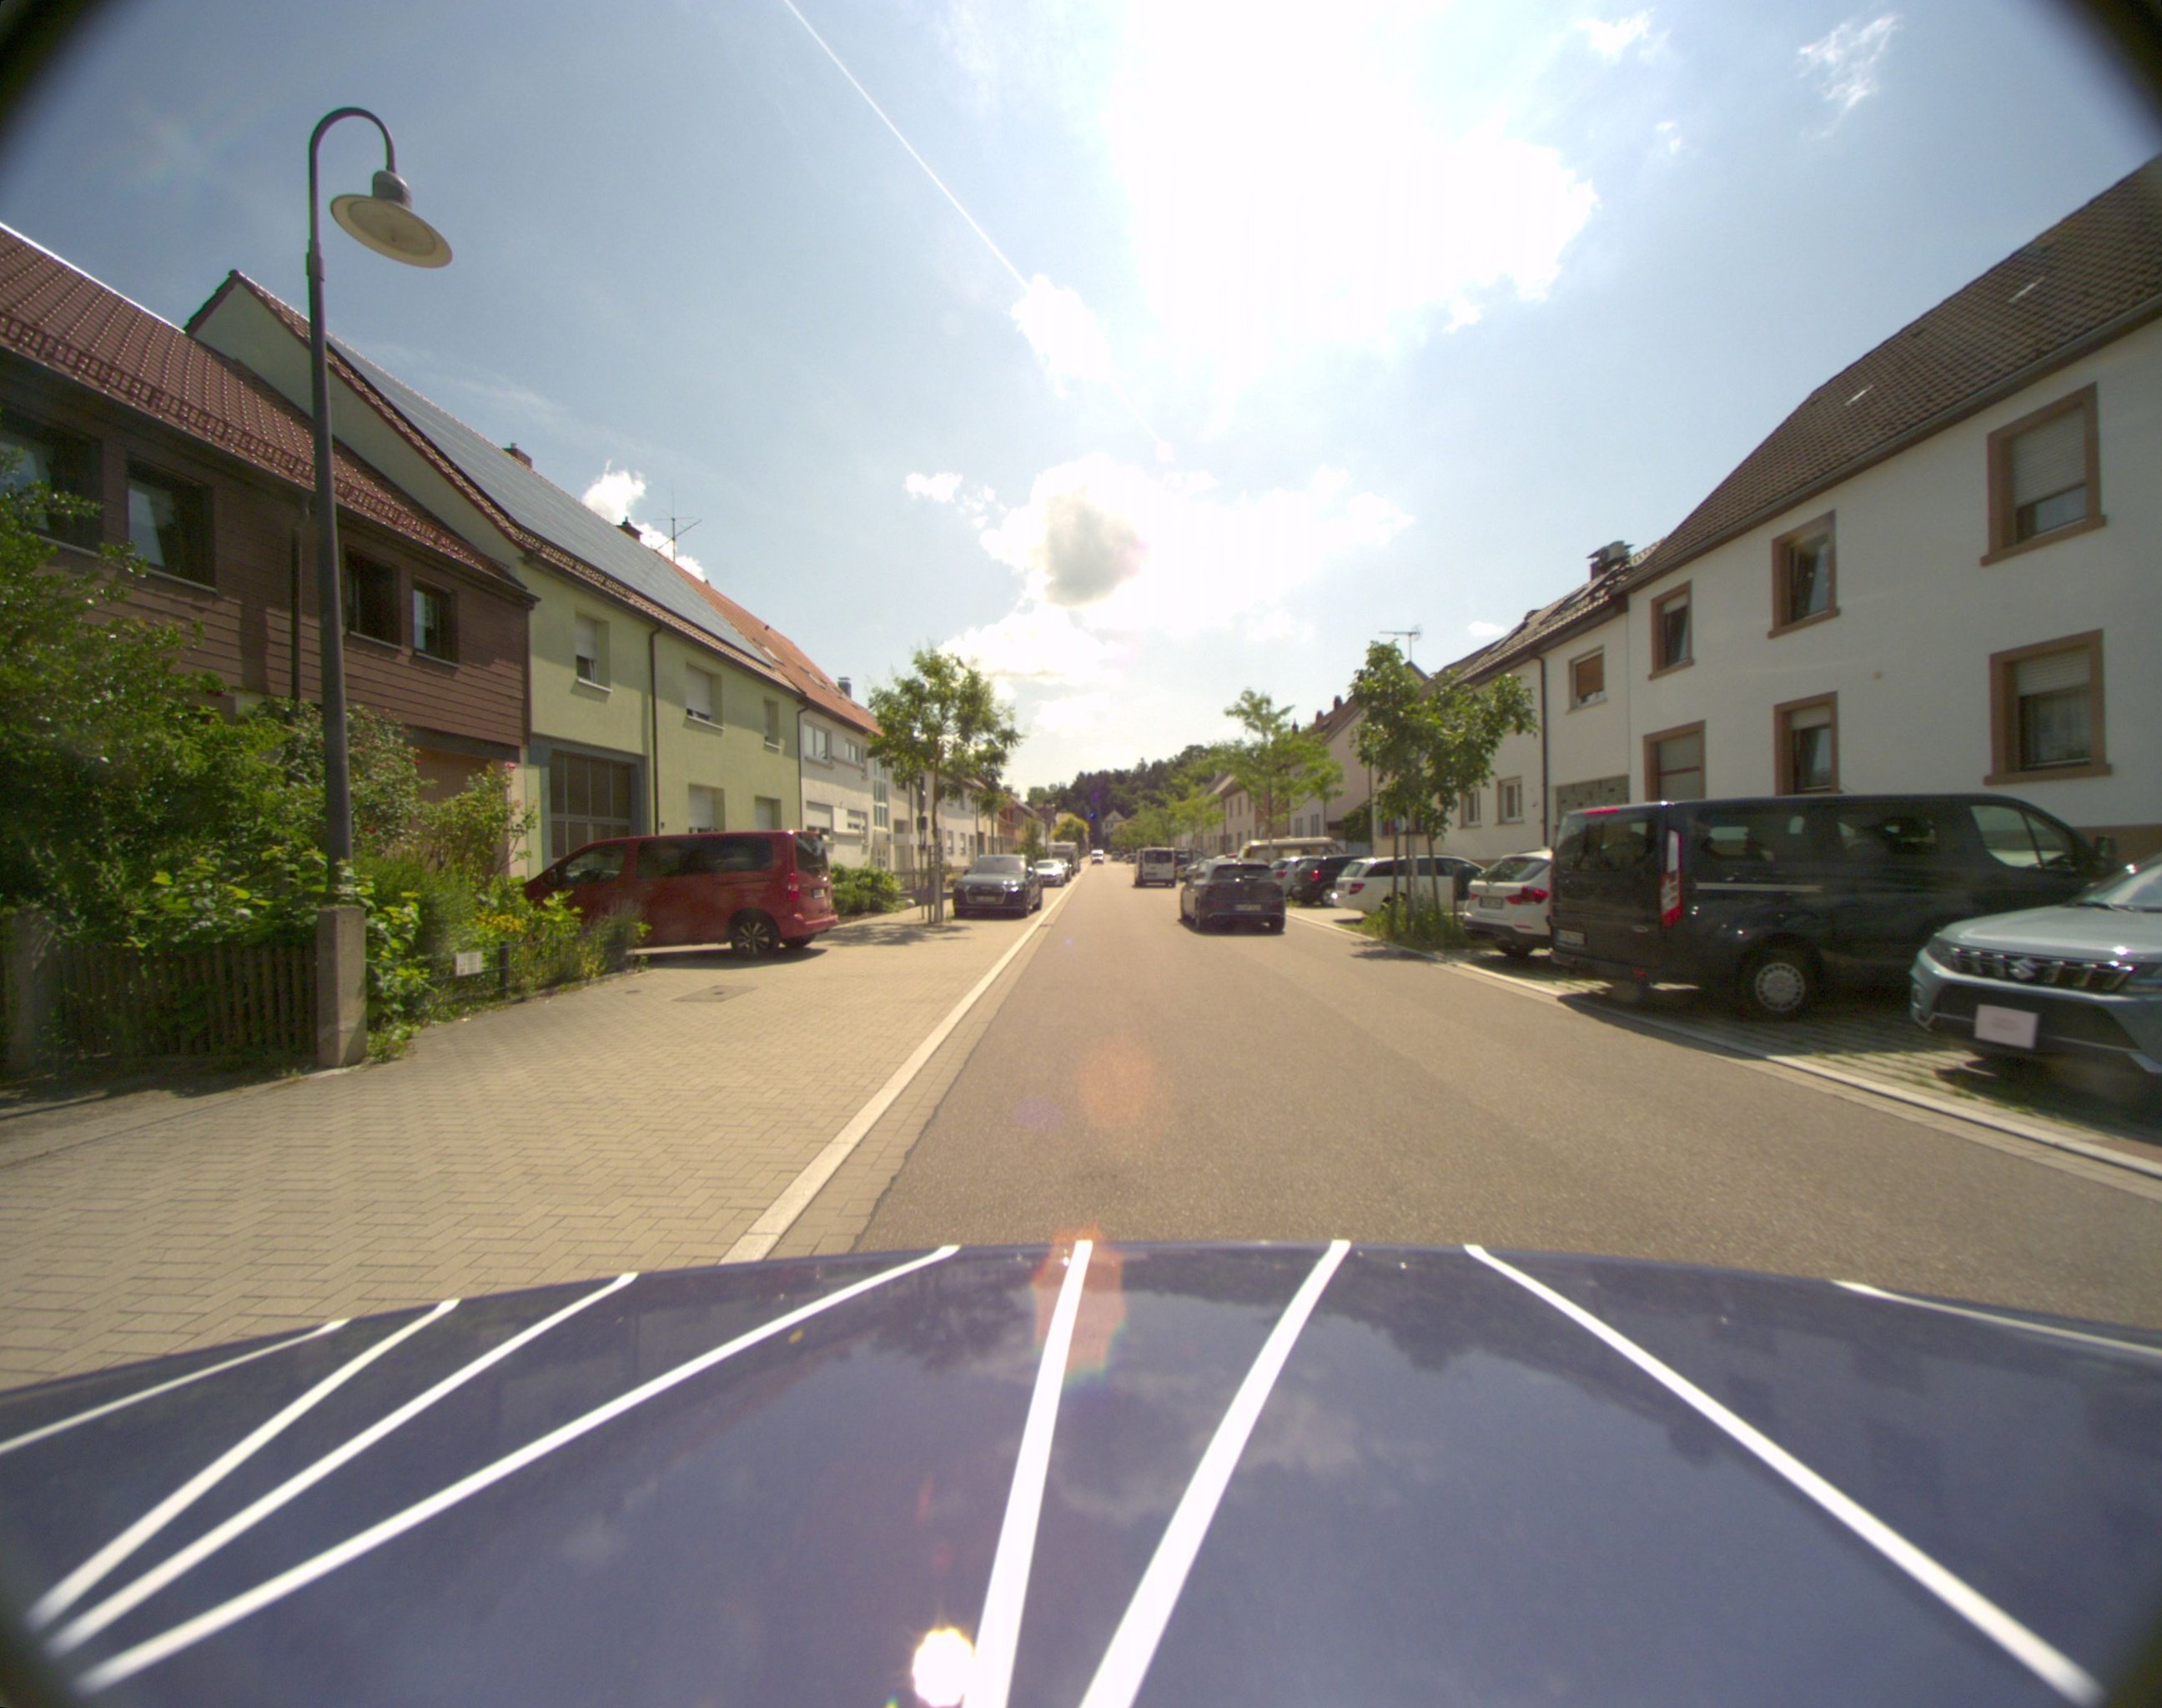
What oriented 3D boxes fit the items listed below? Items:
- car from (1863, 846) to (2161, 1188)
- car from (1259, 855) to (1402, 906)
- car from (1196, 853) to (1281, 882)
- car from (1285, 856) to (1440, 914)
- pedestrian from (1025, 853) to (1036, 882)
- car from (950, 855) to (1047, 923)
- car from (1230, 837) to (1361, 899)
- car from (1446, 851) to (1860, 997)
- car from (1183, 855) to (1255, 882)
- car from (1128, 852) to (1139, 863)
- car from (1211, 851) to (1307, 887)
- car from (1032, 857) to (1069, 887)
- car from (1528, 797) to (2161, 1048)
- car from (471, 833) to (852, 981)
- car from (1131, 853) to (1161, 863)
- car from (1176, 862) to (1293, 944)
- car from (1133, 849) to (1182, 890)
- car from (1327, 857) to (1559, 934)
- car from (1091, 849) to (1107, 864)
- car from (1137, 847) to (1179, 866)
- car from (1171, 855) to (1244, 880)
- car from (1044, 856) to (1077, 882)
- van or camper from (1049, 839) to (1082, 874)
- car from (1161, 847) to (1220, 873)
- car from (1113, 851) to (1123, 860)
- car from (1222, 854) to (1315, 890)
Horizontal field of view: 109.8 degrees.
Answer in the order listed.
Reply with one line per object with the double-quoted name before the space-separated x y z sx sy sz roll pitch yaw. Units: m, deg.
"car" 7.460 0.758 4.284 4.185 1.610 1.772 -3 1 2
"car" 8.144 0.840 25.013 4.084 1.459 1.752 -2 0 -7
"car" 9.024 0.785 43.770 4.415 1.469 1.775 -2 0 -2
"car" 8.128 0.865 22.110 3.891 1.459 1.658 -2 1 -7
"pedestrian" -3.075 0.822 46.007 0.558 1.739 0.673 -1 1 2
"car" -2.124 0.872 20.883 1.868 1.626 4.448 1 0 4
"car" 8.265 0.513 29.578 4.519 2.164 1.925 -2 0 2
"car" 7.393 0.840 10.107 4.194 1.559 1.773 -3 1 -2
"car" 8.446 0.850 46.712 4.064 1.469 1.775 -2 0 -1
"car" 9.294 0.605 134.248 1.843 1.737 4.687 -3 -1 3
"car" 8.759 0.716 37.585 4.264 1.602 1.843 -2 0 1
"car" -1.608 0.921 41.274 1.837 1.457 4.519 -1 0 0
"car" 7.240 0.555 7.272 4.711 1.912 1.938 -3 1 1
"car" -6.183 0.732 11.663 4.630 1.883 2.020 -2 1 0
"car" 10.446 0.627 122.322 4.598 1.508 1.901 -2 0 1
"car" 3.196 0.955 16.573 1.767 1.514 4.049 1 0 1
"car" 3.849 0.729 39.001 2.028 1.938 4.898 -1 1 1
"car" 7.918 0.897 16.950 4.305 1.459 1.774 -2 1 3
"car" 3.037 0.381 129.081 2.489 2.306 5.599 -3 1 1
"car" 10.169 0.325 100.527 5.179 2.275 2.157 -3 0 0
"car" 8.404 0.884 50.700 4.535 1.417 1.796 -2 0 1
"car" -1.266 0.930 48.427 1.771 1.520 4.007 -1 0 2
"van or camper" -1.262 0.185 63.507 2.479 2.793 5.791 0 0 1
"car" 9.011 0.513 63.009 4.623 1.984 1.953 -2 0 3
"car" 8.694 0.260 178.648 1.998 1.968 3.999 -1 1 1
"car" 8.526 0.802 34.761 3.801 1.451 1.755 -2 0 -1
